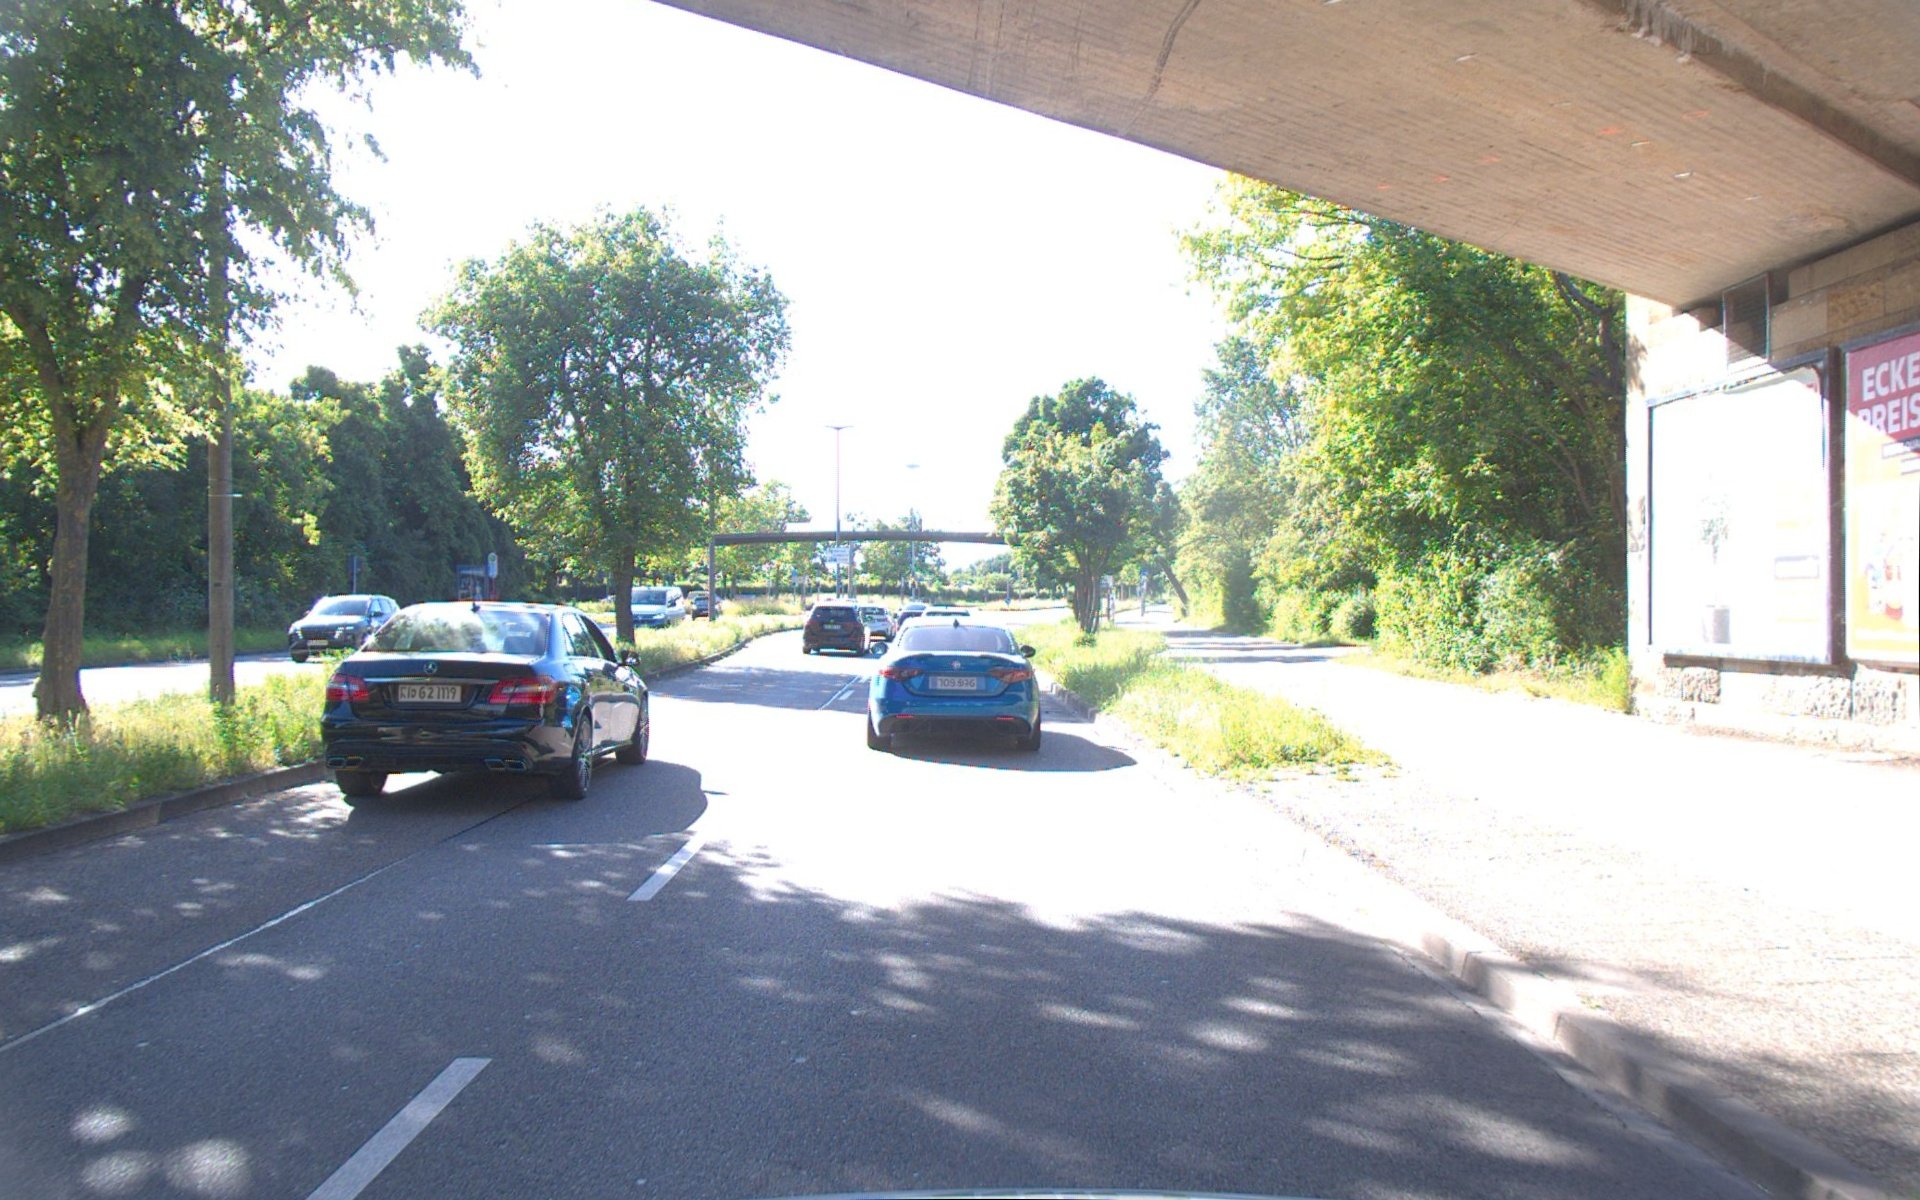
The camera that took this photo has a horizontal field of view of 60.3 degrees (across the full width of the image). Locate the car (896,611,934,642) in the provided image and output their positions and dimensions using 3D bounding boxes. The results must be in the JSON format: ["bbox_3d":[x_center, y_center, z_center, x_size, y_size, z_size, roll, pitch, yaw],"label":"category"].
[{"bbox_3d":[-2.286,1.342,84.612,1.845,1.479,4.525,1,-1,-1],"label":"car"}]

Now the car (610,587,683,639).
[{"bbox_3d":[-12.239,0.524,64.852,1.953,1.963,5.244,0,-1,-1],"label":"car"}]

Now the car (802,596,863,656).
[{"bbox_3d":[-3.716,0.759,48.594,1.674,1.626,4.220,1,-1,-4],"label":"car"}]

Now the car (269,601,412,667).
[{"bbox_3d":[-15.967,0.873,42.925,1.942,1.579,4.592,1,-1,0],"label":"car"}]

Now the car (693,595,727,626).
[{"bbox_3d":[-17.355,0.740,114.825,1.954,2.049,4.578,1,-1,-4],"label":"car"}]

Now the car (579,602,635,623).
[{"bbox_3d":[-30.178,1.081,141.242,4.217,1.679,2.000,1,-1,19],"label":"car"}]

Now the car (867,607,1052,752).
[{"bbox_3d":[-0.042,0.837,18.888,1.845,1.431,4.223,1,-1,-1],"label":"car"}]

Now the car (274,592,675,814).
[{"bbox_3d":[-3.770,0.730,13.859,1.919,1.509,4.917,1,-1,0],"label":"car"}]

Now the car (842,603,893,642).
[{"bbox_3d":[-3.721,0.903,67.019,1.845,1.479,4.525,1,-1,-1],"label":"car"}]

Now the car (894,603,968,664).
[{"bbox_3d":[-0.764,0.880,44.139,1.845,1.479,4.525,1,-1,-1],"label":"car"}]
